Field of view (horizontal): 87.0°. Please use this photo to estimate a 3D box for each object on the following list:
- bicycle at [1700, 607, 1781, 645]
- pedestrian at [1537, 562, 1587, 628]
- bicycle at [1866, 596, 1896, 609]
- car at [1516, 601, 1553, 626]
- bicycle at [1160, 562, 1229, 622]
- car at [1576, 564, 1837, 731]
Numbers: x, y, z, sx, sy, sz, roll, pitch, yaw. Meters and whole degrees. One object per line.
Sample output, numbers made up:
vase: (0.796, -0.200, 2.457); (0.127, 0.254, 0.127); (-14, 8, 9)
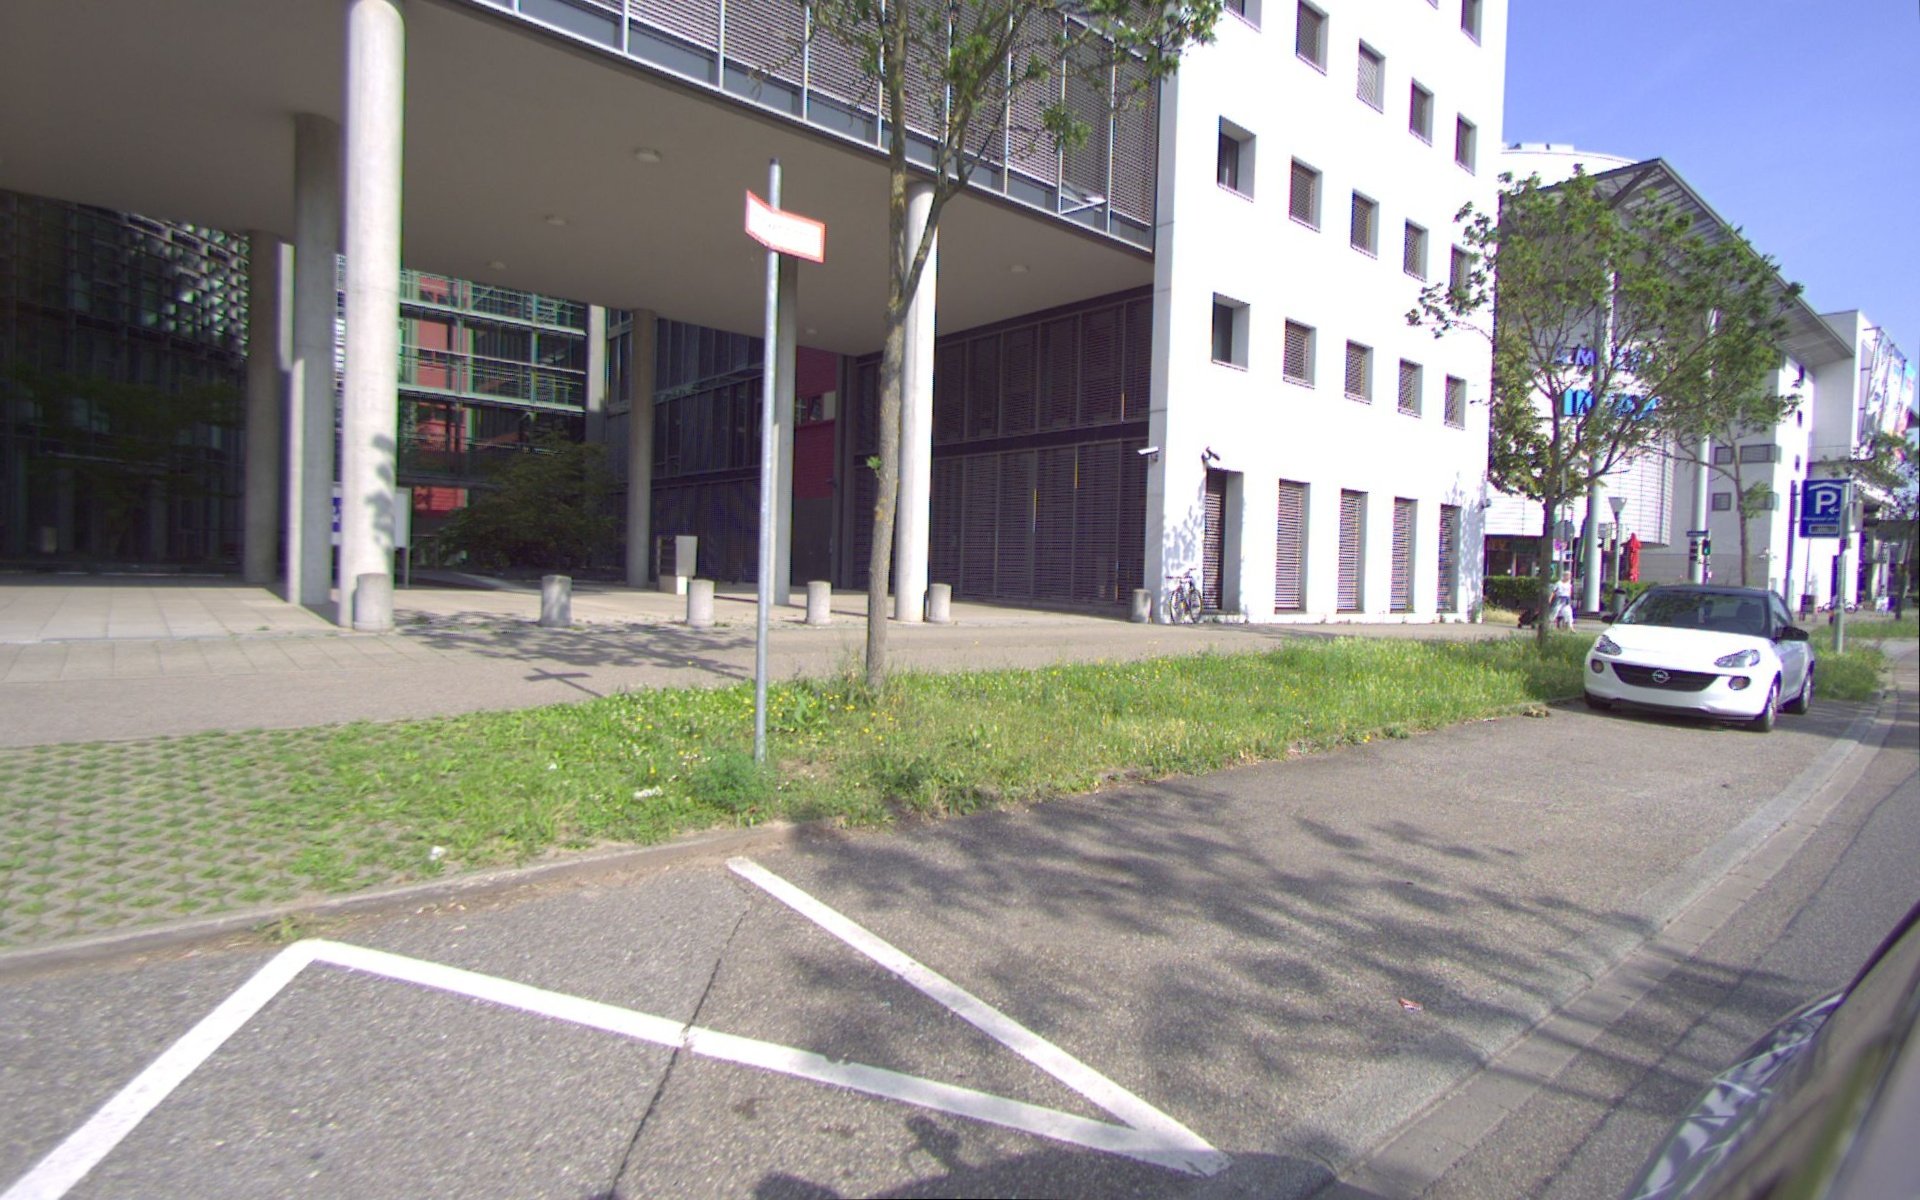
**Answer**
bicycle: (17.502, 0.569, 22.711); (0.511, 0.639, 1.278); (0, 8, -33)
pedestrian: (15.563, -0.133, 26.166); (0.699, 1.635, 0.781); (2, 2, -4)
bicycle: (72.142, 0.183, 79.296); (0.474, 0.926, 1.662); (1, 3, -39)
car: (15.273, 0.345, 26.925); (0.488, 0.594, 0.769); (2, 2, -4)
bicycle: (4.558, -0.156, 19.614); (1.524, 1.099, 0.494); (0, 4, -43)
car: (8.664, 0.449, 11.632); (3.717, 1.537, 1.723); (1, 3, -43)
